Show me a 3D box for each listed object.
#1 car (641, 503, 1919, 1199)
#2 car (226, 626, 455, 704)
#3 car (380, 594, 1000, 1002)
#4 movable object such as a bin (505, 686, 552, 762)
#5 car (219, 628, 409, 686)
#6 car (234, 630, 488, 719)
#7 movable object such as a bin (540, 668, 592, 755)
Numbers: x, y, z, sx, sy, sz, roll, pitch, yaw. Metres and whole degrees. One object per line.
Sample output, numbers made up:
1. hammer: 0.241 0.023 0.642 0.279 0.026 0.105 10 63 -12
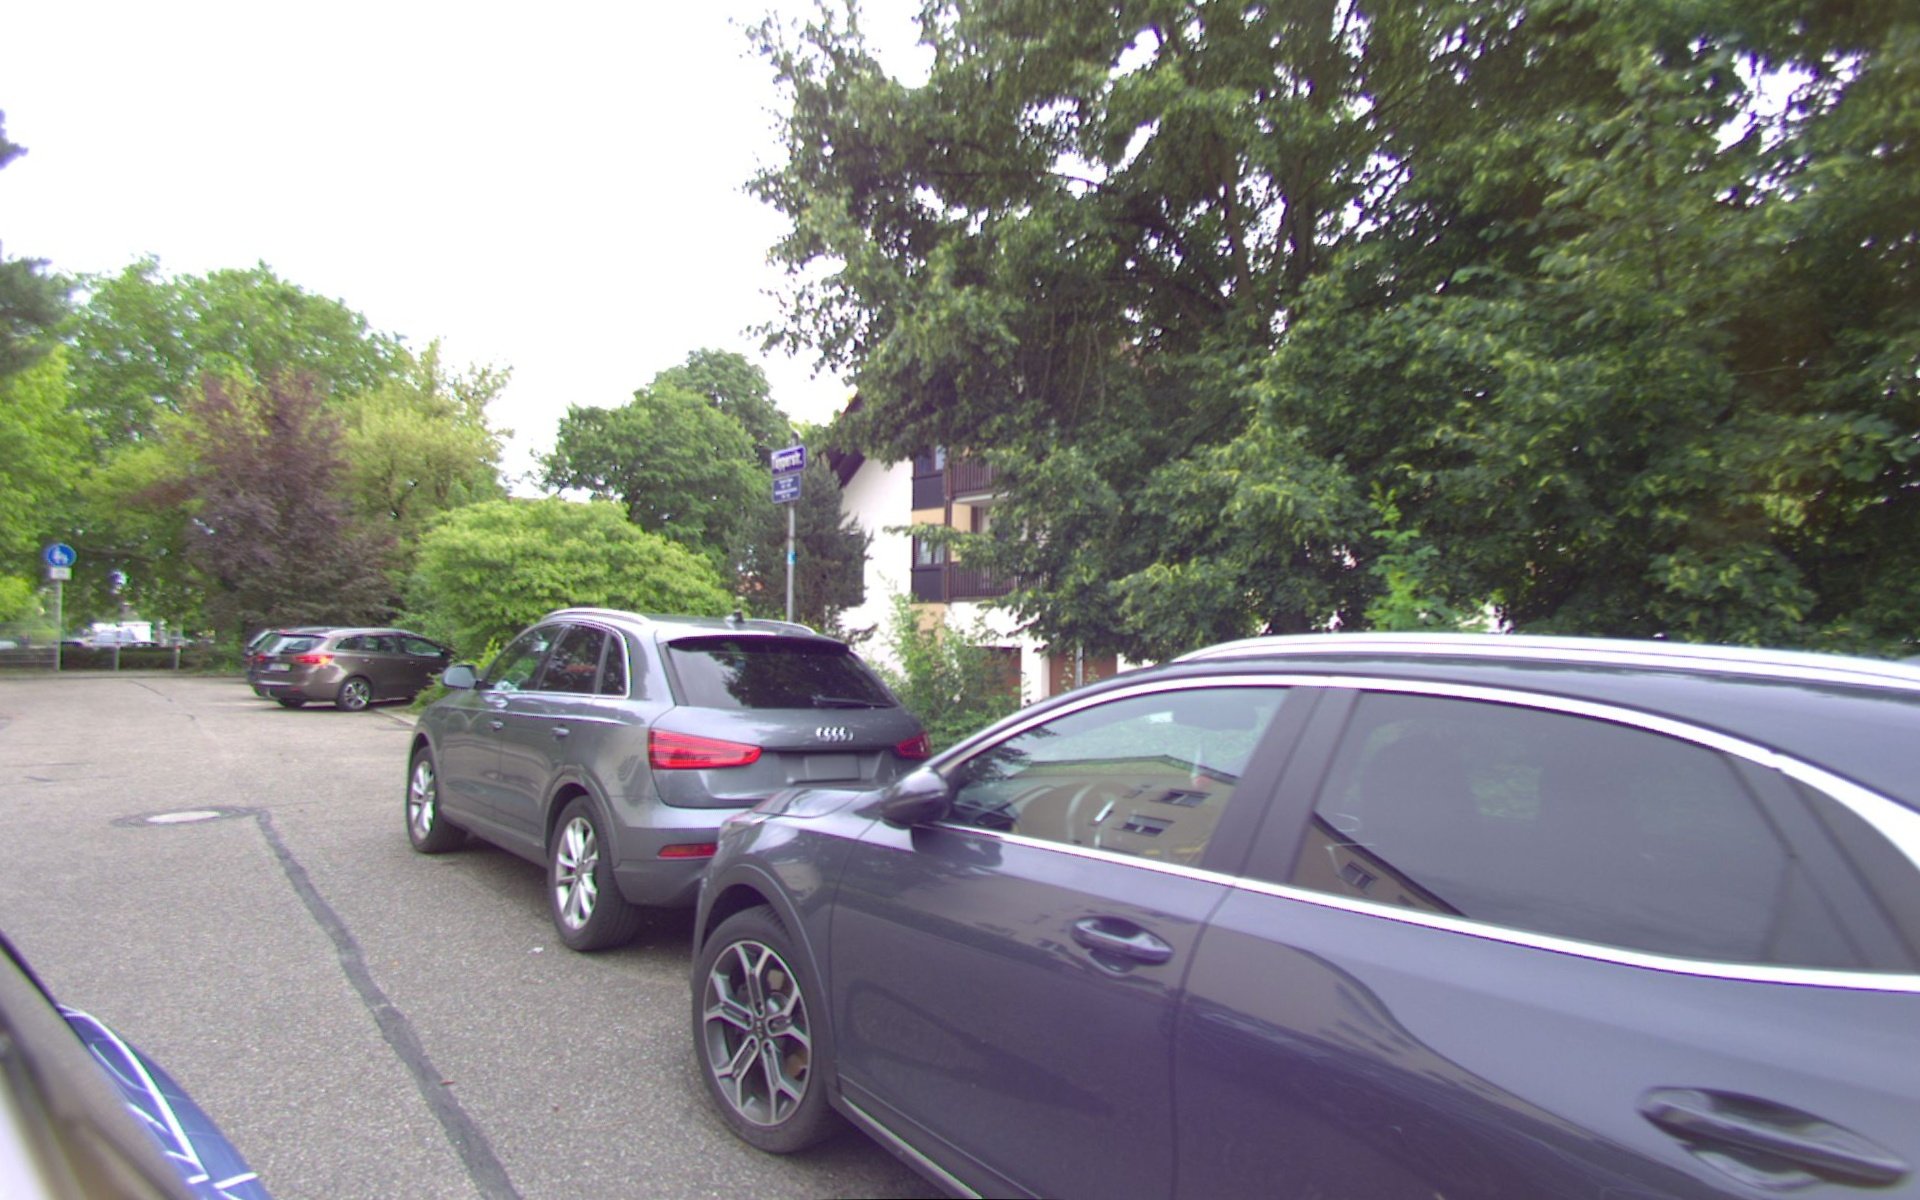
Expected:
1. car: 0.931 0.754 2.265 1.719 1.543 4.203 5 -4 -38
2. car: -13.148 1.345 21.774 1.689 1.502 3.970 0 -2 22
3. car: -1.890 0.838 6.017 1.721 1.543 4.255 5 -4 -43
4. movable object such as a bin: -5.091 1.455 11.945 0.387 0.843 0.374 0 -2 45
5. car: -16.880 1.475 26.656 1.689 1.385 3.970 0 -2 22
6. car: -11.306 1.361 19.421 1.689 1.502 3.970 0 -2 22
7. movable object such as a bin: -4.771 1.336 12.250 0.374 1.001 0.539 3 -2 -45
